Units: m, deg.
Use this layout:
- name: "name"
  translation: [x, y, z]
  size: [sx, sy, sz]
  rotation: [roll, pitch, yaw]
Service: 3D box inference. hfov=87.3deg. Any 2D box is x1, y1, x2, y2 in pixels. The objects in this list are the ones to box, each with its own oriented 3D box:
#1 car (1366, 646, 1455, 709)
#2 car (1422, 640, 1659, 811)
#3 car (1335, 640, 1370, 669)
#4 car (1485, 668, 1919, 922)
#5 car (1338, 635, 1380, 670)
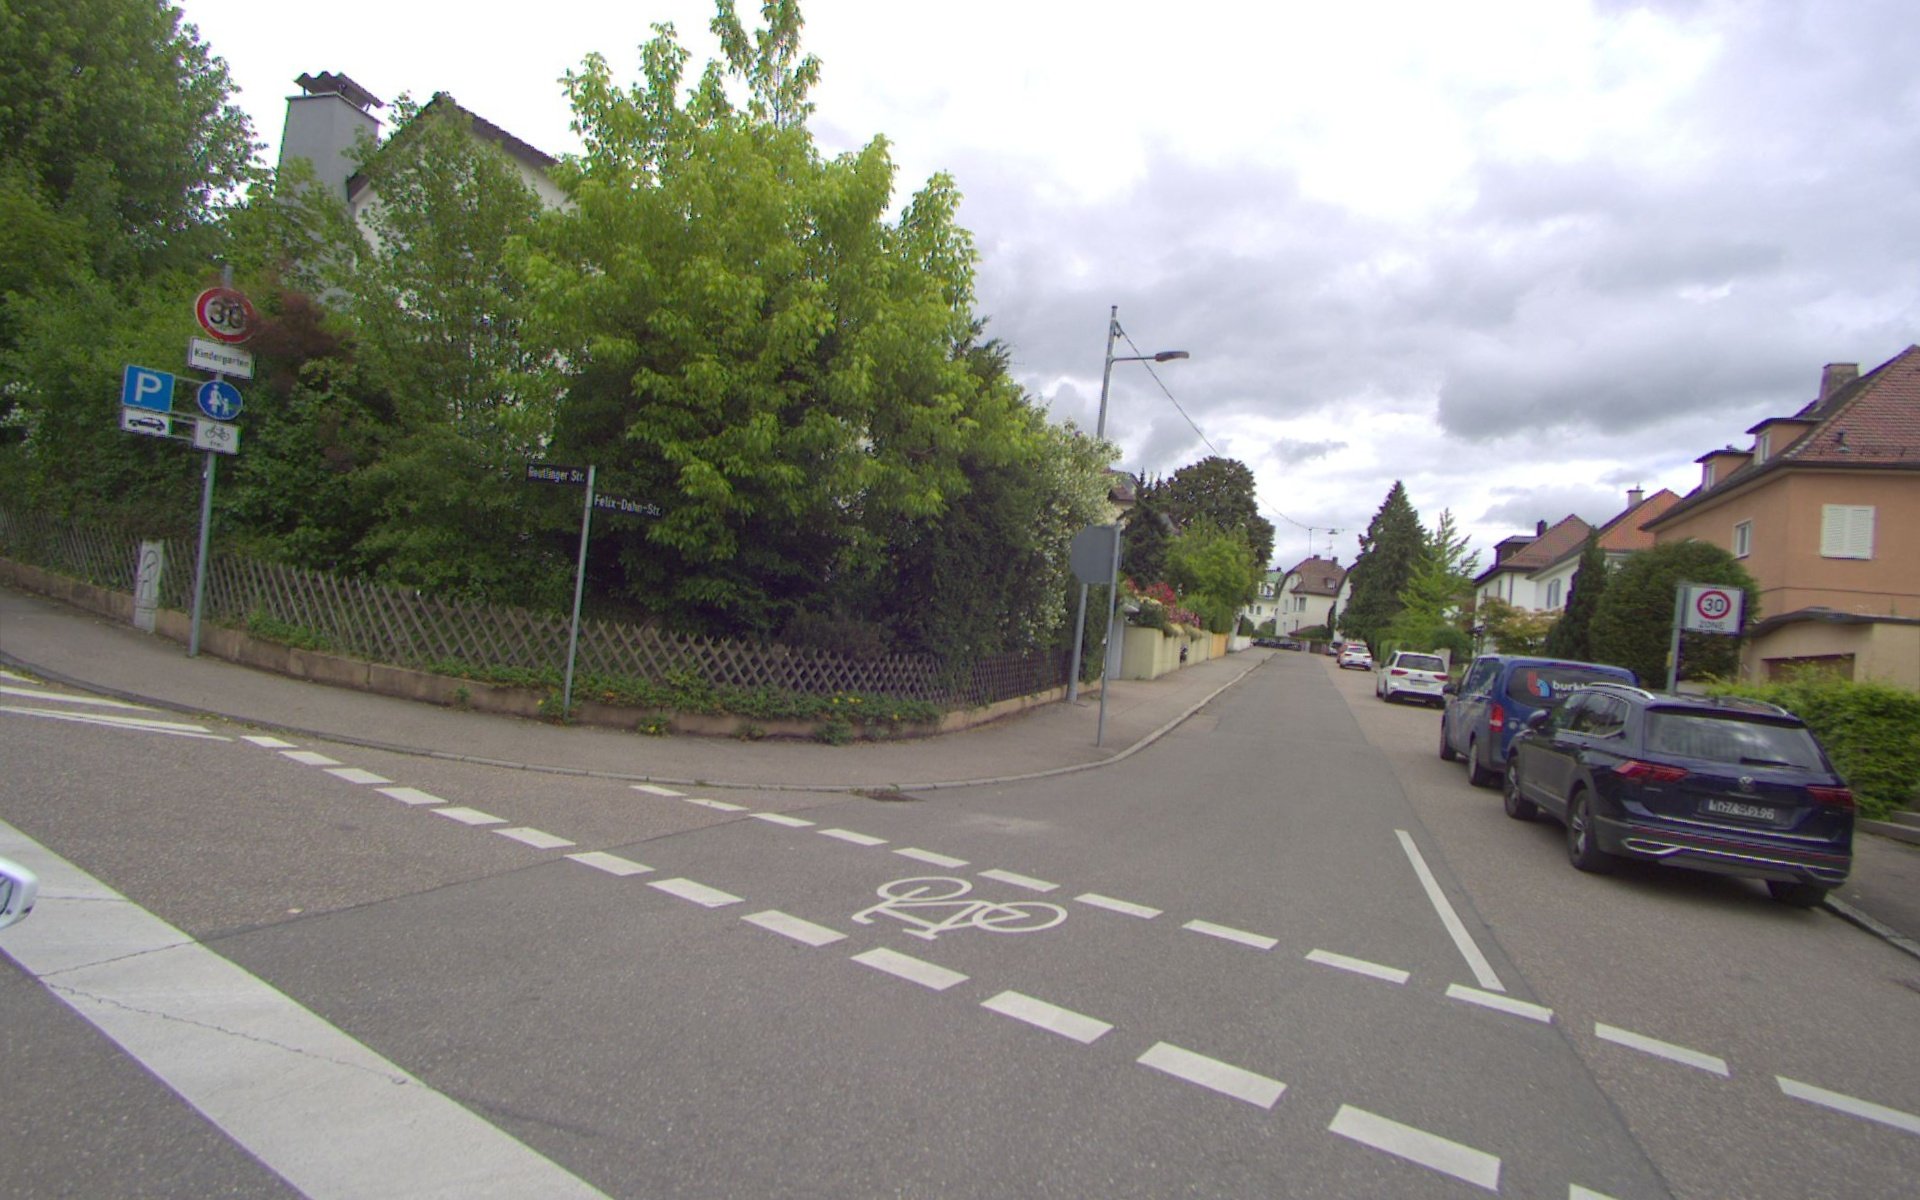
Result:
- name: "car"
  translation: [14.320, 2.410, 32.197]
  size: [1.851, 1.659, 4.139]
  rotation: [7, 0, 16]
- name: "car"
  translation: [8.530, 1.699, 15.306]
  size: [1.851, 1.981, 4.735]
  rotation: [5, 0, 16]
- name: "car"
  translation: [28.897, 4.054, 74.168]
  size: [1.963, 1.643, 4.007]
  rotation: [9, -3, 19]
- name: "car"
  translation: [6.876, 1.628, 9.981]
  size: [1.962, 1.452, 4.519]
  rotation: [9, 1, 17]
- name: "car"
  translation: [24.646, 3.254, 62.250]
  size: [1.963, 1.643, 4.007]
  rotation: [9, -3, 19]
